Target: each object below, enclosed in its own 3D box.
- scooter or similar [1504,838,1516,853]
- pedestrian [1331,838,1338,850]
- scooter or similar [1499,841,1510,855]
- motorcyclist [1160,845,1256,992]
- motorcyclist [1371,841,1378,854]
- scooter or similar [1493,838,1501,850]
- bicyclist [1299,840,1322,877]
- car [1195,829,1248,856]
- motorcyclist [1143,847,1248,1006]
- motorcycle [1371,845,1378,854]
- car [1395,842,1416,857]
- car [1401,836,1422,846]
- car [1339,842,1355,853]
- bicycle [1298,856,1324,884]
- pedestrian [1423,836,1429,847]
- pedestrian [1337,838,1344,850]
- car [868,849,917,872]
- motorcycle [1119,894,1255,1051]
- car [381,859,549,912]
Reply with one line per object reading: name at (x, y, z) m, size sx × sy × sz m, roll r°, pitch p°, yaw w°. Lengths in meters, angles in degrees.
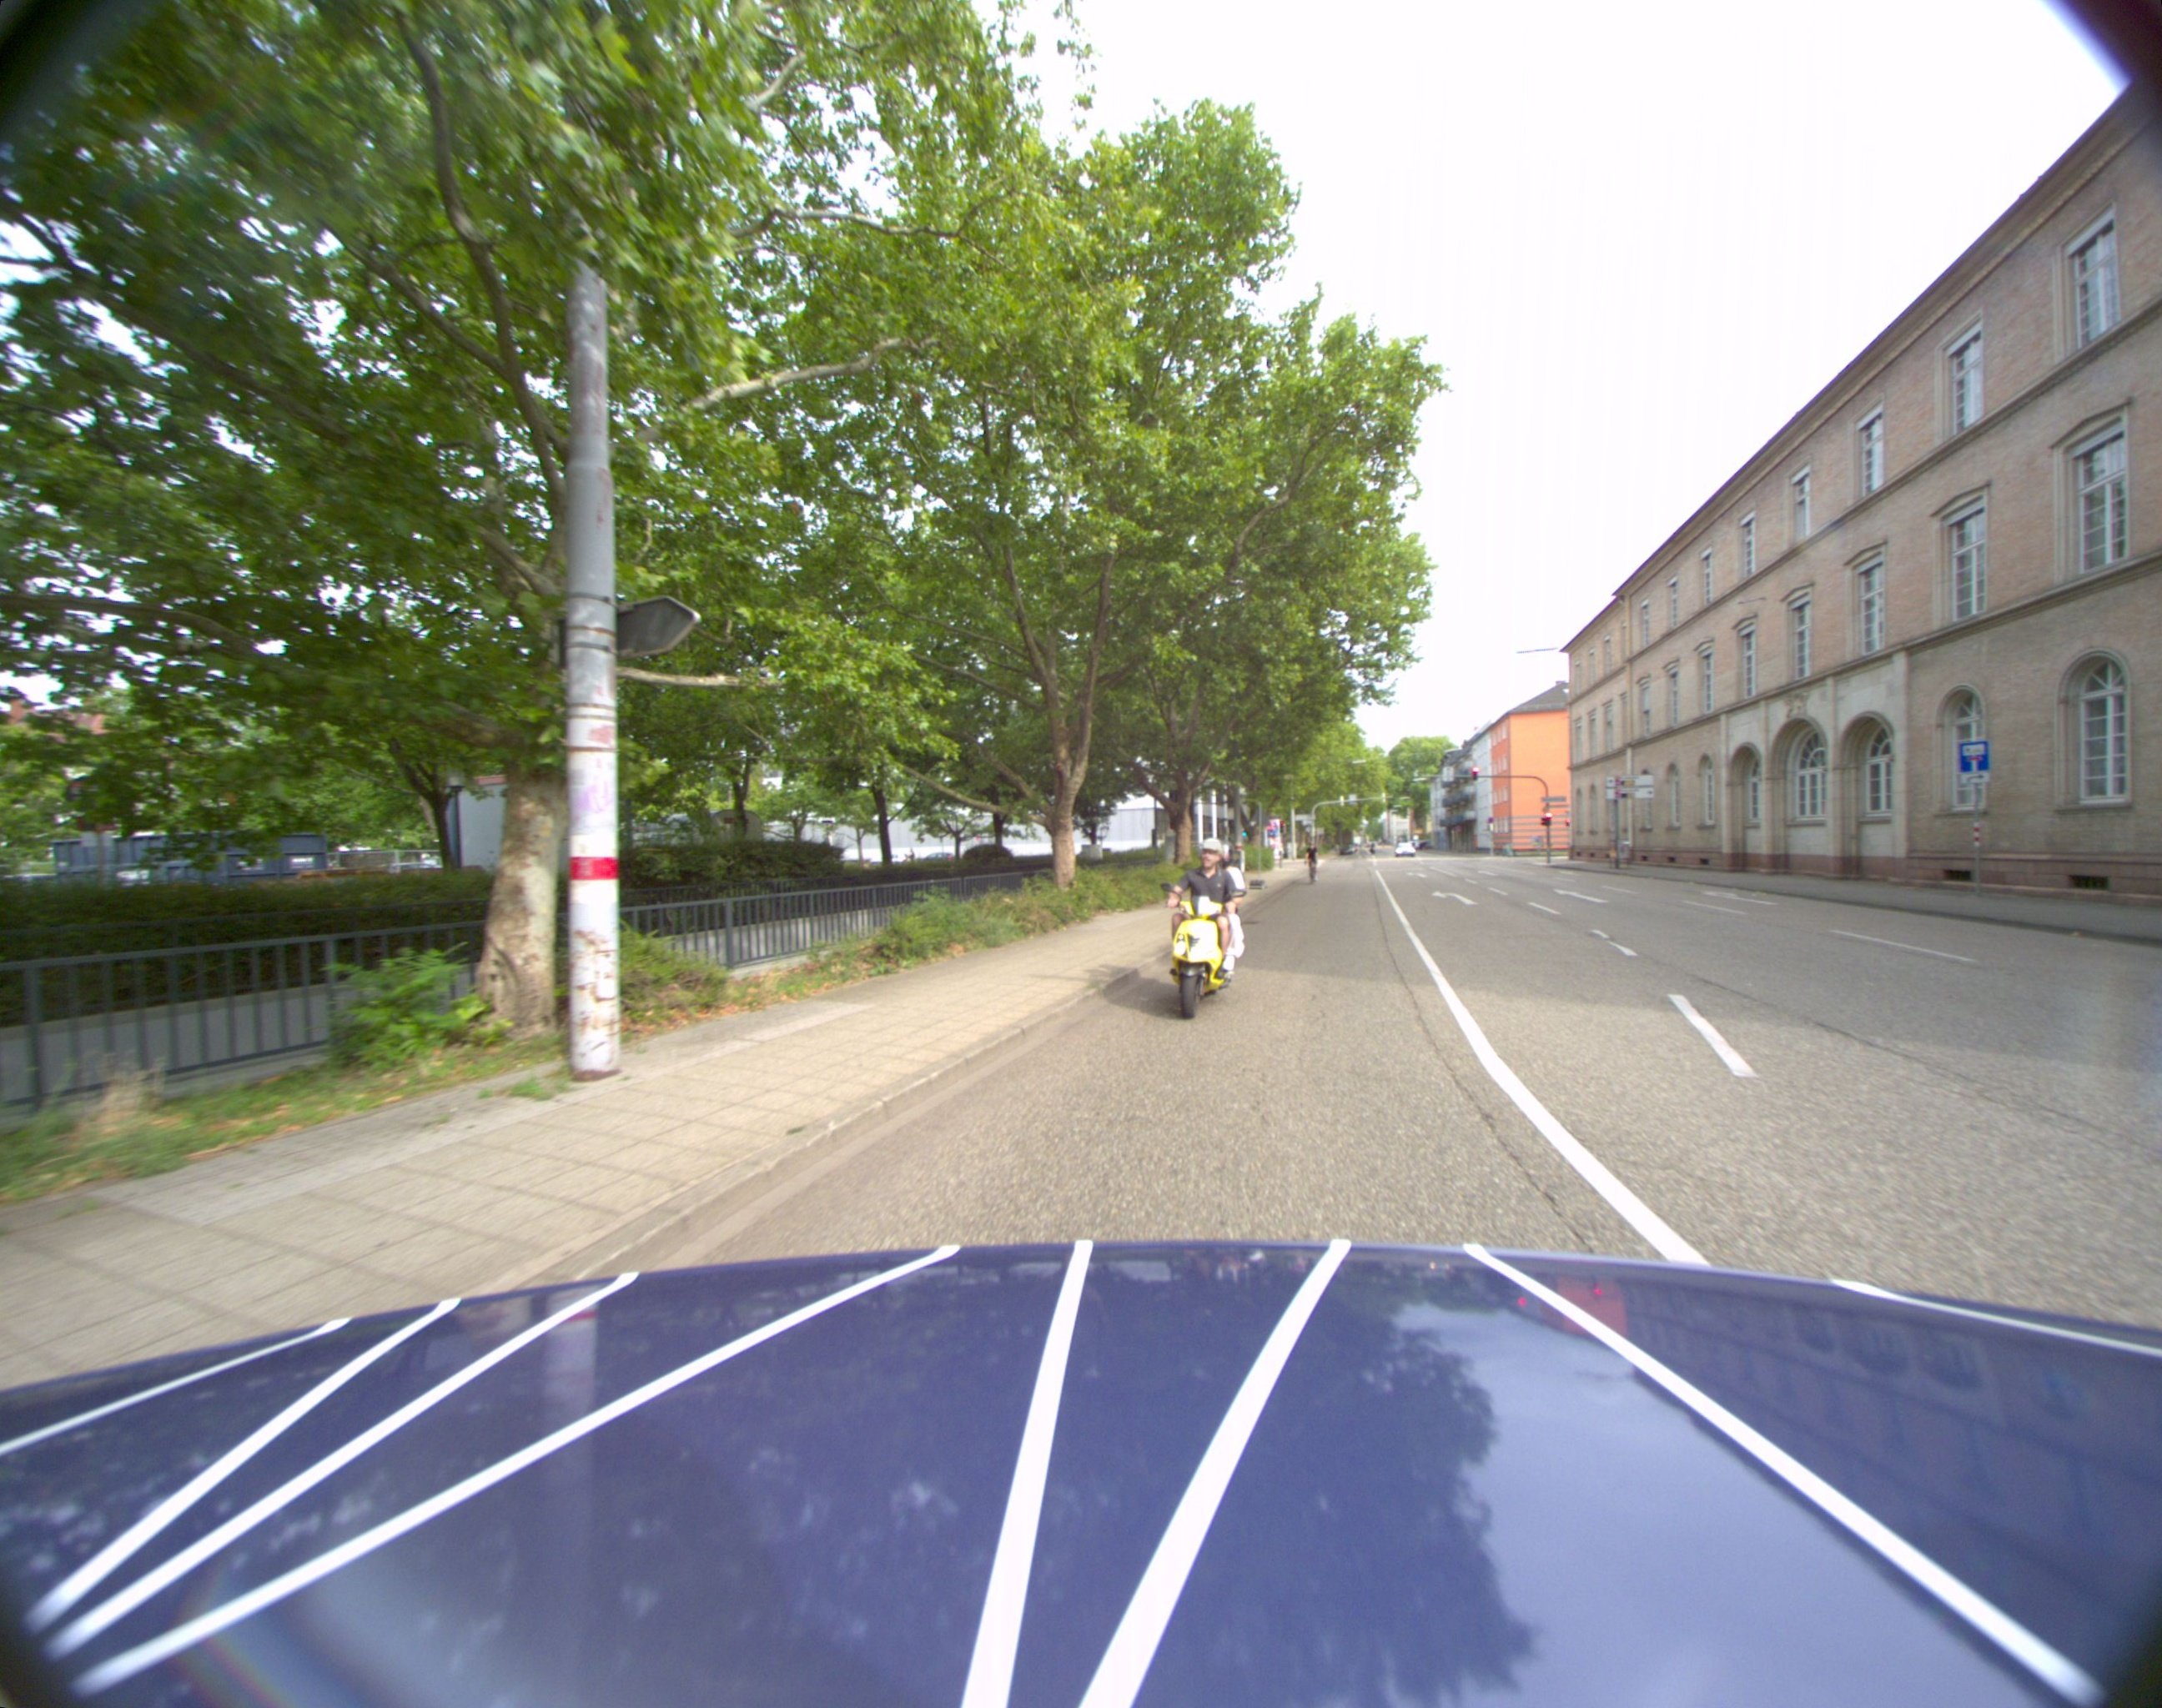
scooter or similar at (35.908, -0.702, 63.578) m, size 0.329 × 1.151 × 1.355 m, roll -3°, pitch 0°, yaw 7°
pedestrian at (44.123, -1.733, 132.190) m, size 1.002 × 2.002 × 0.999 m, roll -3°, pitch 0°, yaw 22°
scooter or similar at (35.520, -0.528, 63.730) m, size 0.329 × 1.172 × 1.344 m, roll -3°, pitch 0°, yaw 7°
motorcyclist at (1.316, 0.635, 7.789) m, size 0.780 × 1.419 × 0.690 m, roll -2°, pitch 0°, yaw 22°
motorcyclist at (40.712, -0.903, 105.499) m, size 0.780 × 1.651 × 1.114 m, roll -3°, pitch 0°, yaw 17°
scooter or similar at (38.325, -0.909, 69.998) m, size 0.369 × 1.117 × 1.356 m, roll -3°, pitch 0°, yaw 21°
bicyclist at (9.324, 0.175, 30.837) m, size 0.783 × 1.438 × 0.915 m, roll -3°, pitch 0°, yaw 21°
car at (11.563, -0.942, 62.323) m, size 3.993 × 2.002 × 2.002 m, roll -3°, pitch 0°, yaw 15°
motorcyclist at (1.117, 0.665, 7.330) m, size 0.780 × 1.419 × 0.765 m, roll -2°, pitch 0°, yaw 22°
motorcycle at (40.726, -0.579, 105.487) m, size 0.780 × 1.171 × 1.995 m, roll -3°, pitch -1°, yaw 17°
car at (32.498, -0.479, 76.179) m, size 1.670 × 1.430 × 3.825 m, roll -1°, pitch 1°, yaw 20°
car at (72.240, -2.803, 166.279) m, size 3.992 × 2.002 × 2.003 m, roll -3°, pitch 0°, yaw 20°
car at (40.177, -1.061, 114.540) m, size 1.996 × 1.532 × 4.277 m, roll -3°, pitch 0°, yaw 22°
bicycle at (9.336, 0.615, 30.819) m, size 0.770 × 1.009 × 2.411 m, roll -3°, pitch 0°, yaw 21°
pedestrian at (62.035, -2.253, 136.703) m, size 0.841 × 2.002 × 0.876 m, roll -3°, pitch 0°, yaw 24°
pedestrian at (45.046, -1.785, 131.746) m, size 1.002 × 2.002 × 0.999 m, roll -3°, pitch 0°, yaw 22°
car at (-18.245, 0.635, 73.532) m, size 3.994 × 2.002 × 2.002 m, roll -3°, pitch 0°, yaw 11°
motorcycle at (1.098, 1.047, 7.342) m, size 0.780 × 1.171 × 1.995 m, roll -2°, pitch 0°, yaw 22°
car at (-24.098, 1.165, 30.013) m, size 1.996 × 1.783 × 4.779 m, roll -3°, pitch 0°, yaw 17°
